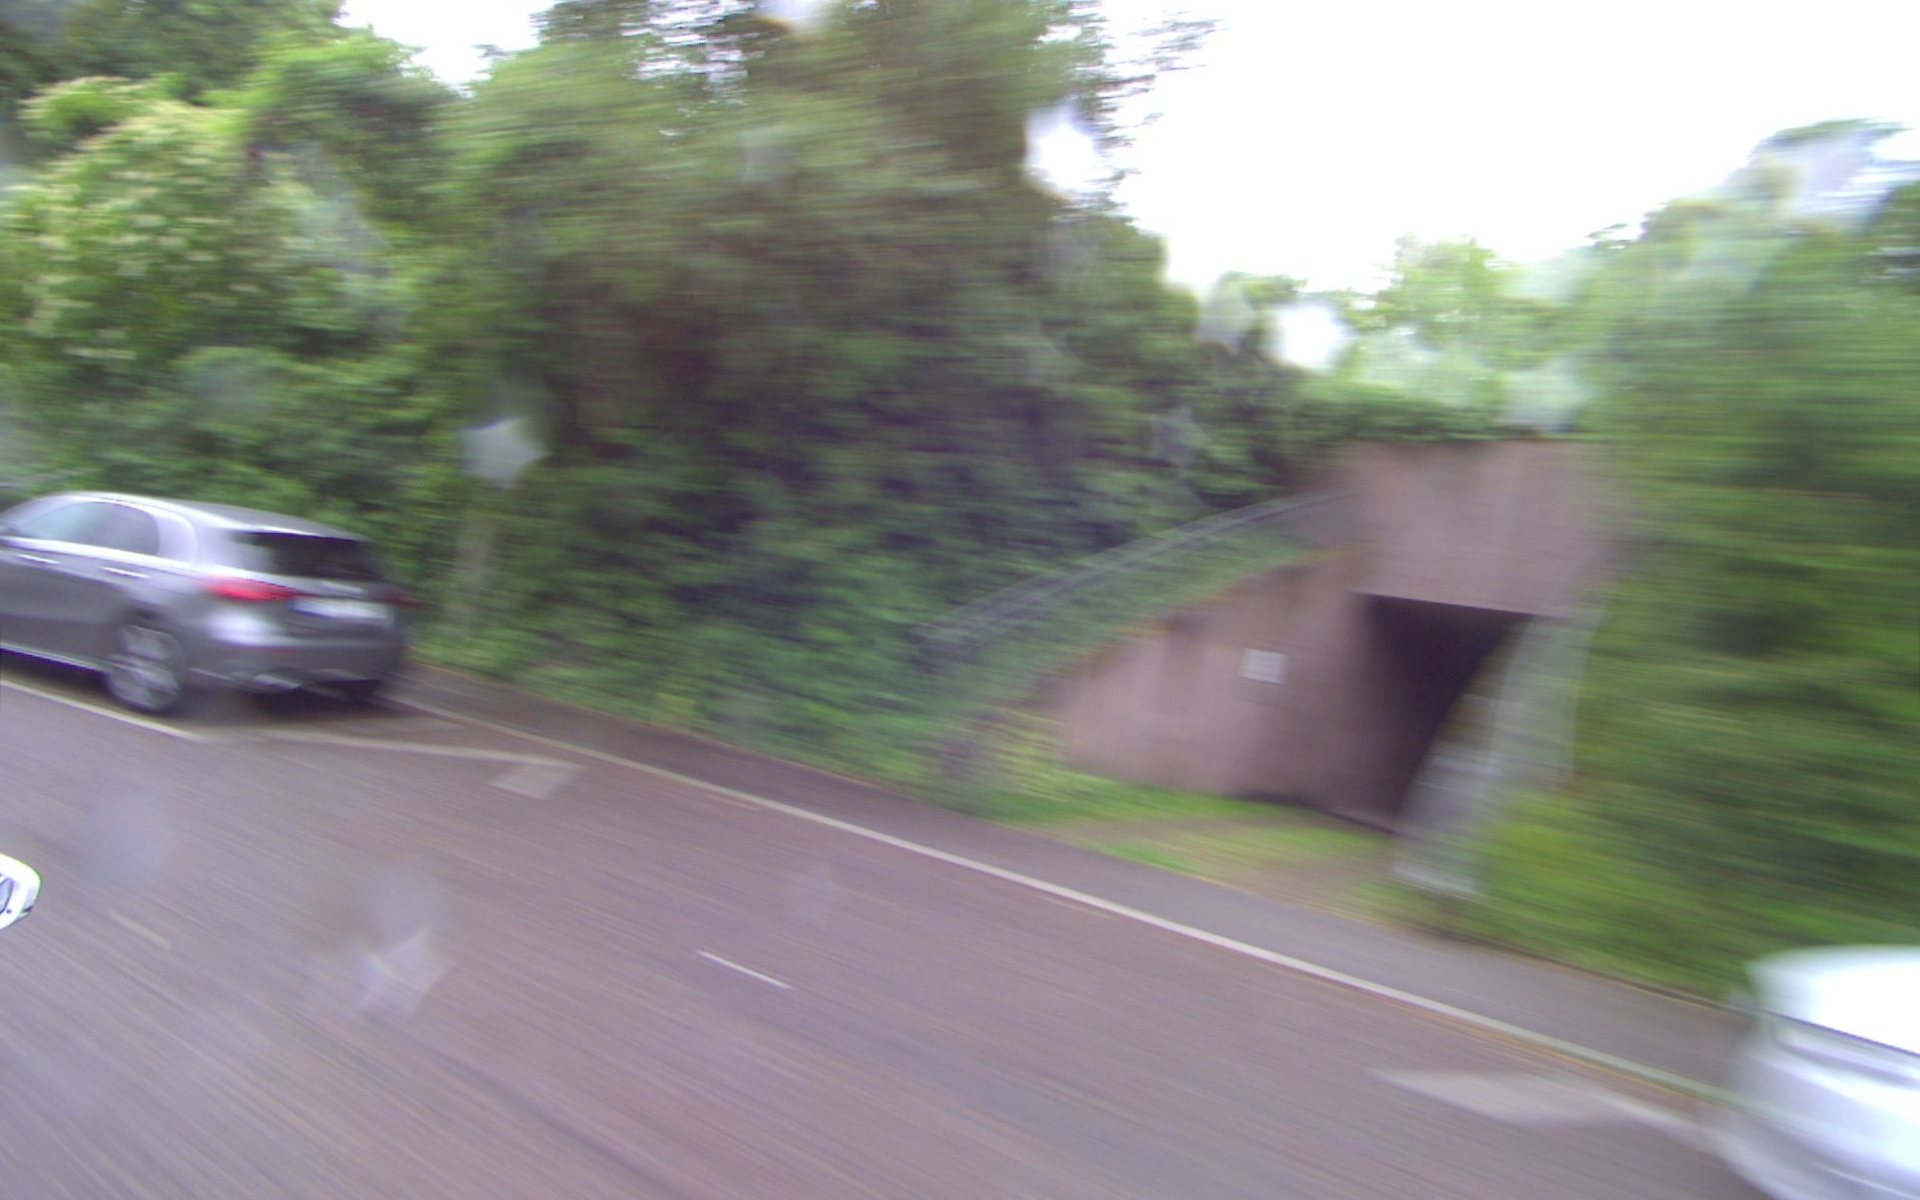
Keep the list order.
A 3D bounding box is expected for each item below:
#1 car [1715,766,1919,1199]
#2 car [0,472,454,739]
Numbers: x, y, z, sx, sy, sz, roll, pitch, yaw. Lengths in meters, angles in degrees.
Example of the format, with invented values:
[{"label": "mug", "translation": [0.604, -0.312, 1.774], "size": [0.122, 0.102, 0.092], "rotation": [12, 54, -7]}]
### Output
[{"label": "car", "translation": [4.362, 1.513, 2.249], "size": [4.030, 1.416, 1.758], "rotation": [8, -2, 35]}, {"label": "car", "translation": [-6.299, -0.072, 7.922], "size": [4.048, 1.462, 1.726], "rotation": [9, 1, 20]}]
